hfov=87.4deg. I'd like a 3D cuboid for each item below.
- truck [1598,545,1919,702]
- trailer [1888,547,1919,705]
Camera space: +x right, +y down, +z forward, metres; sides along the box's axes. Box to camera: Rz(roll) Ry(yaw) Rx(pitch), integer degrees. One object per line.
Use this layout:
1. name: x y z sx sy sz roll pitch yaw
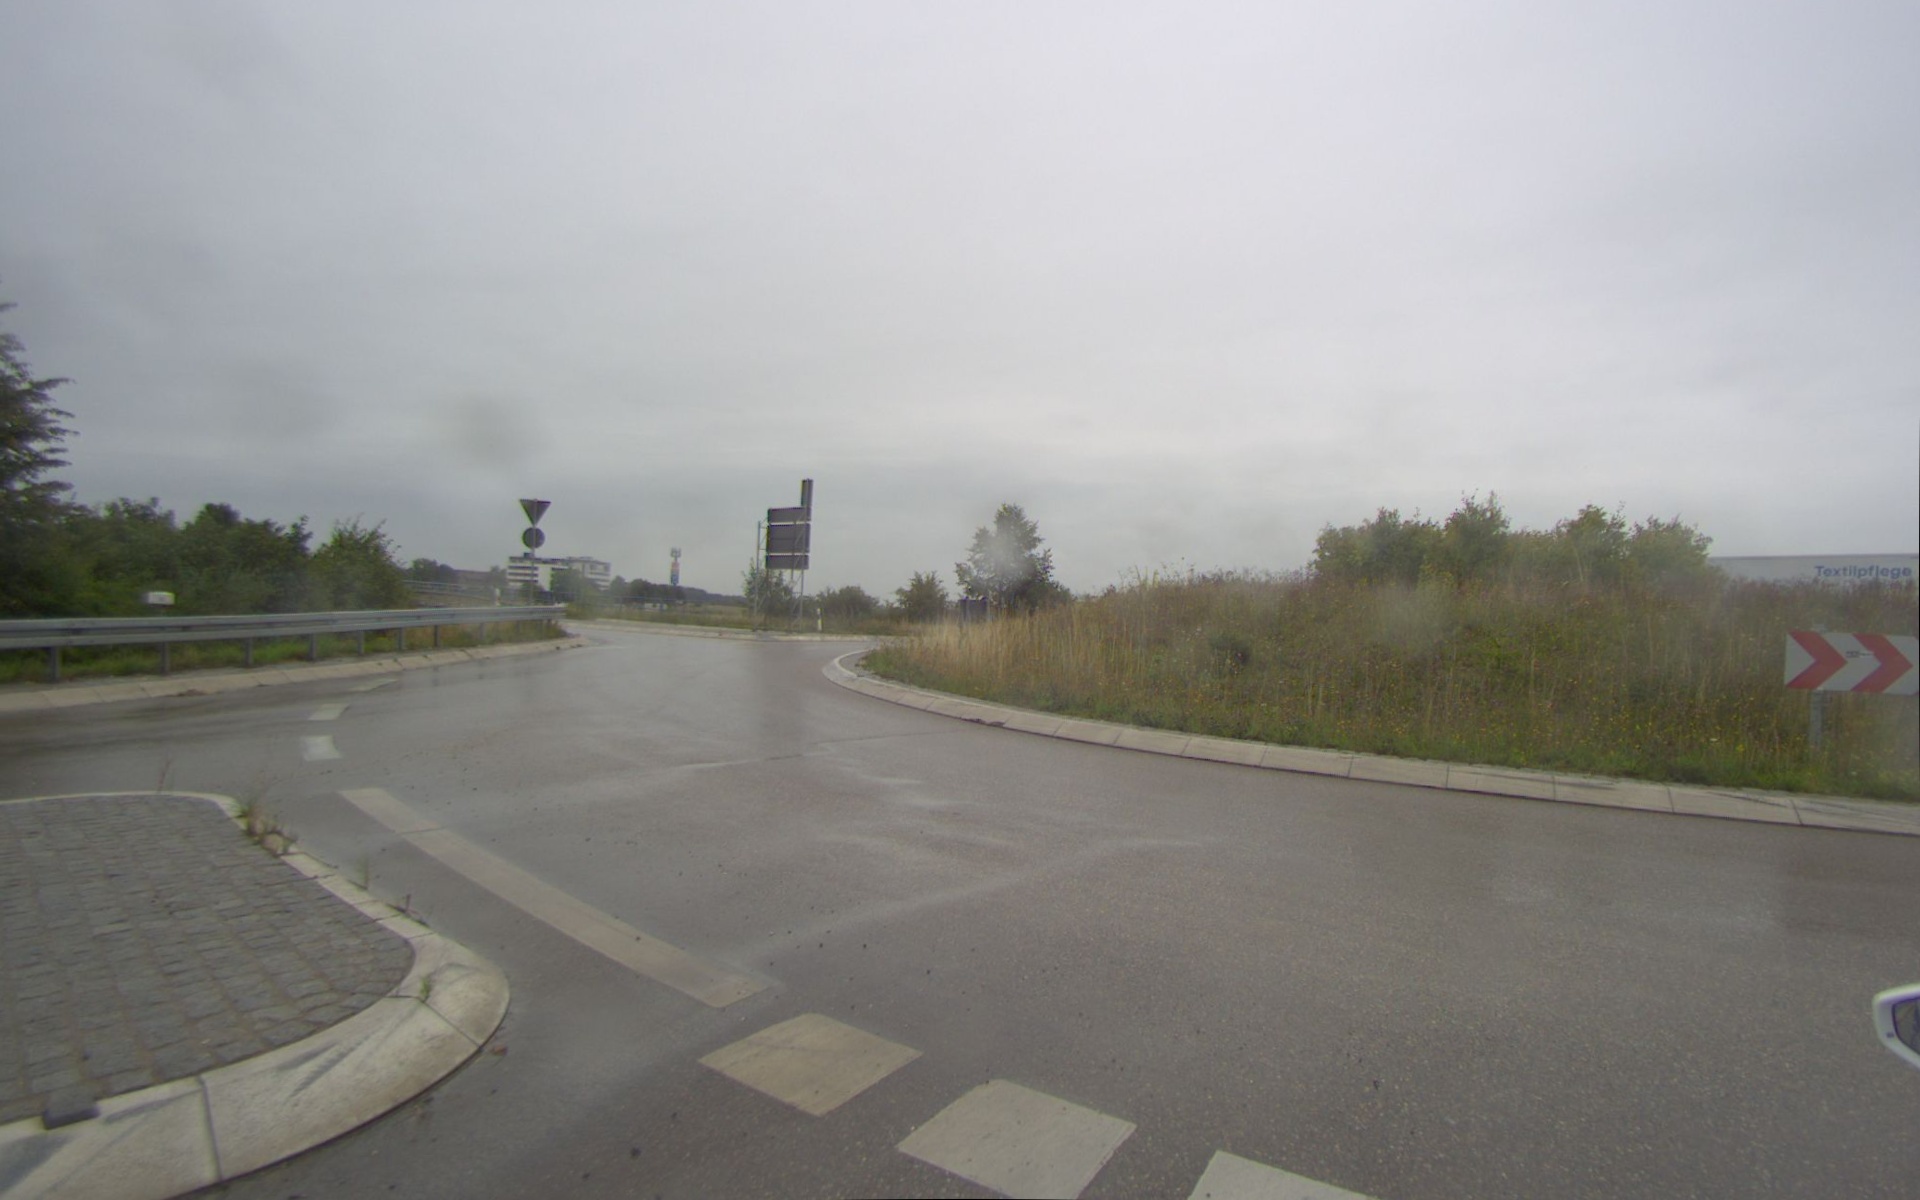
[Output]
1. truck: 23.051 0.591 28.696 2.776 3.869 7.628 3 0 -29
2. trailer: 26.074 0.727 21.004 2.795 3.869 9.681 3 -1 -16
